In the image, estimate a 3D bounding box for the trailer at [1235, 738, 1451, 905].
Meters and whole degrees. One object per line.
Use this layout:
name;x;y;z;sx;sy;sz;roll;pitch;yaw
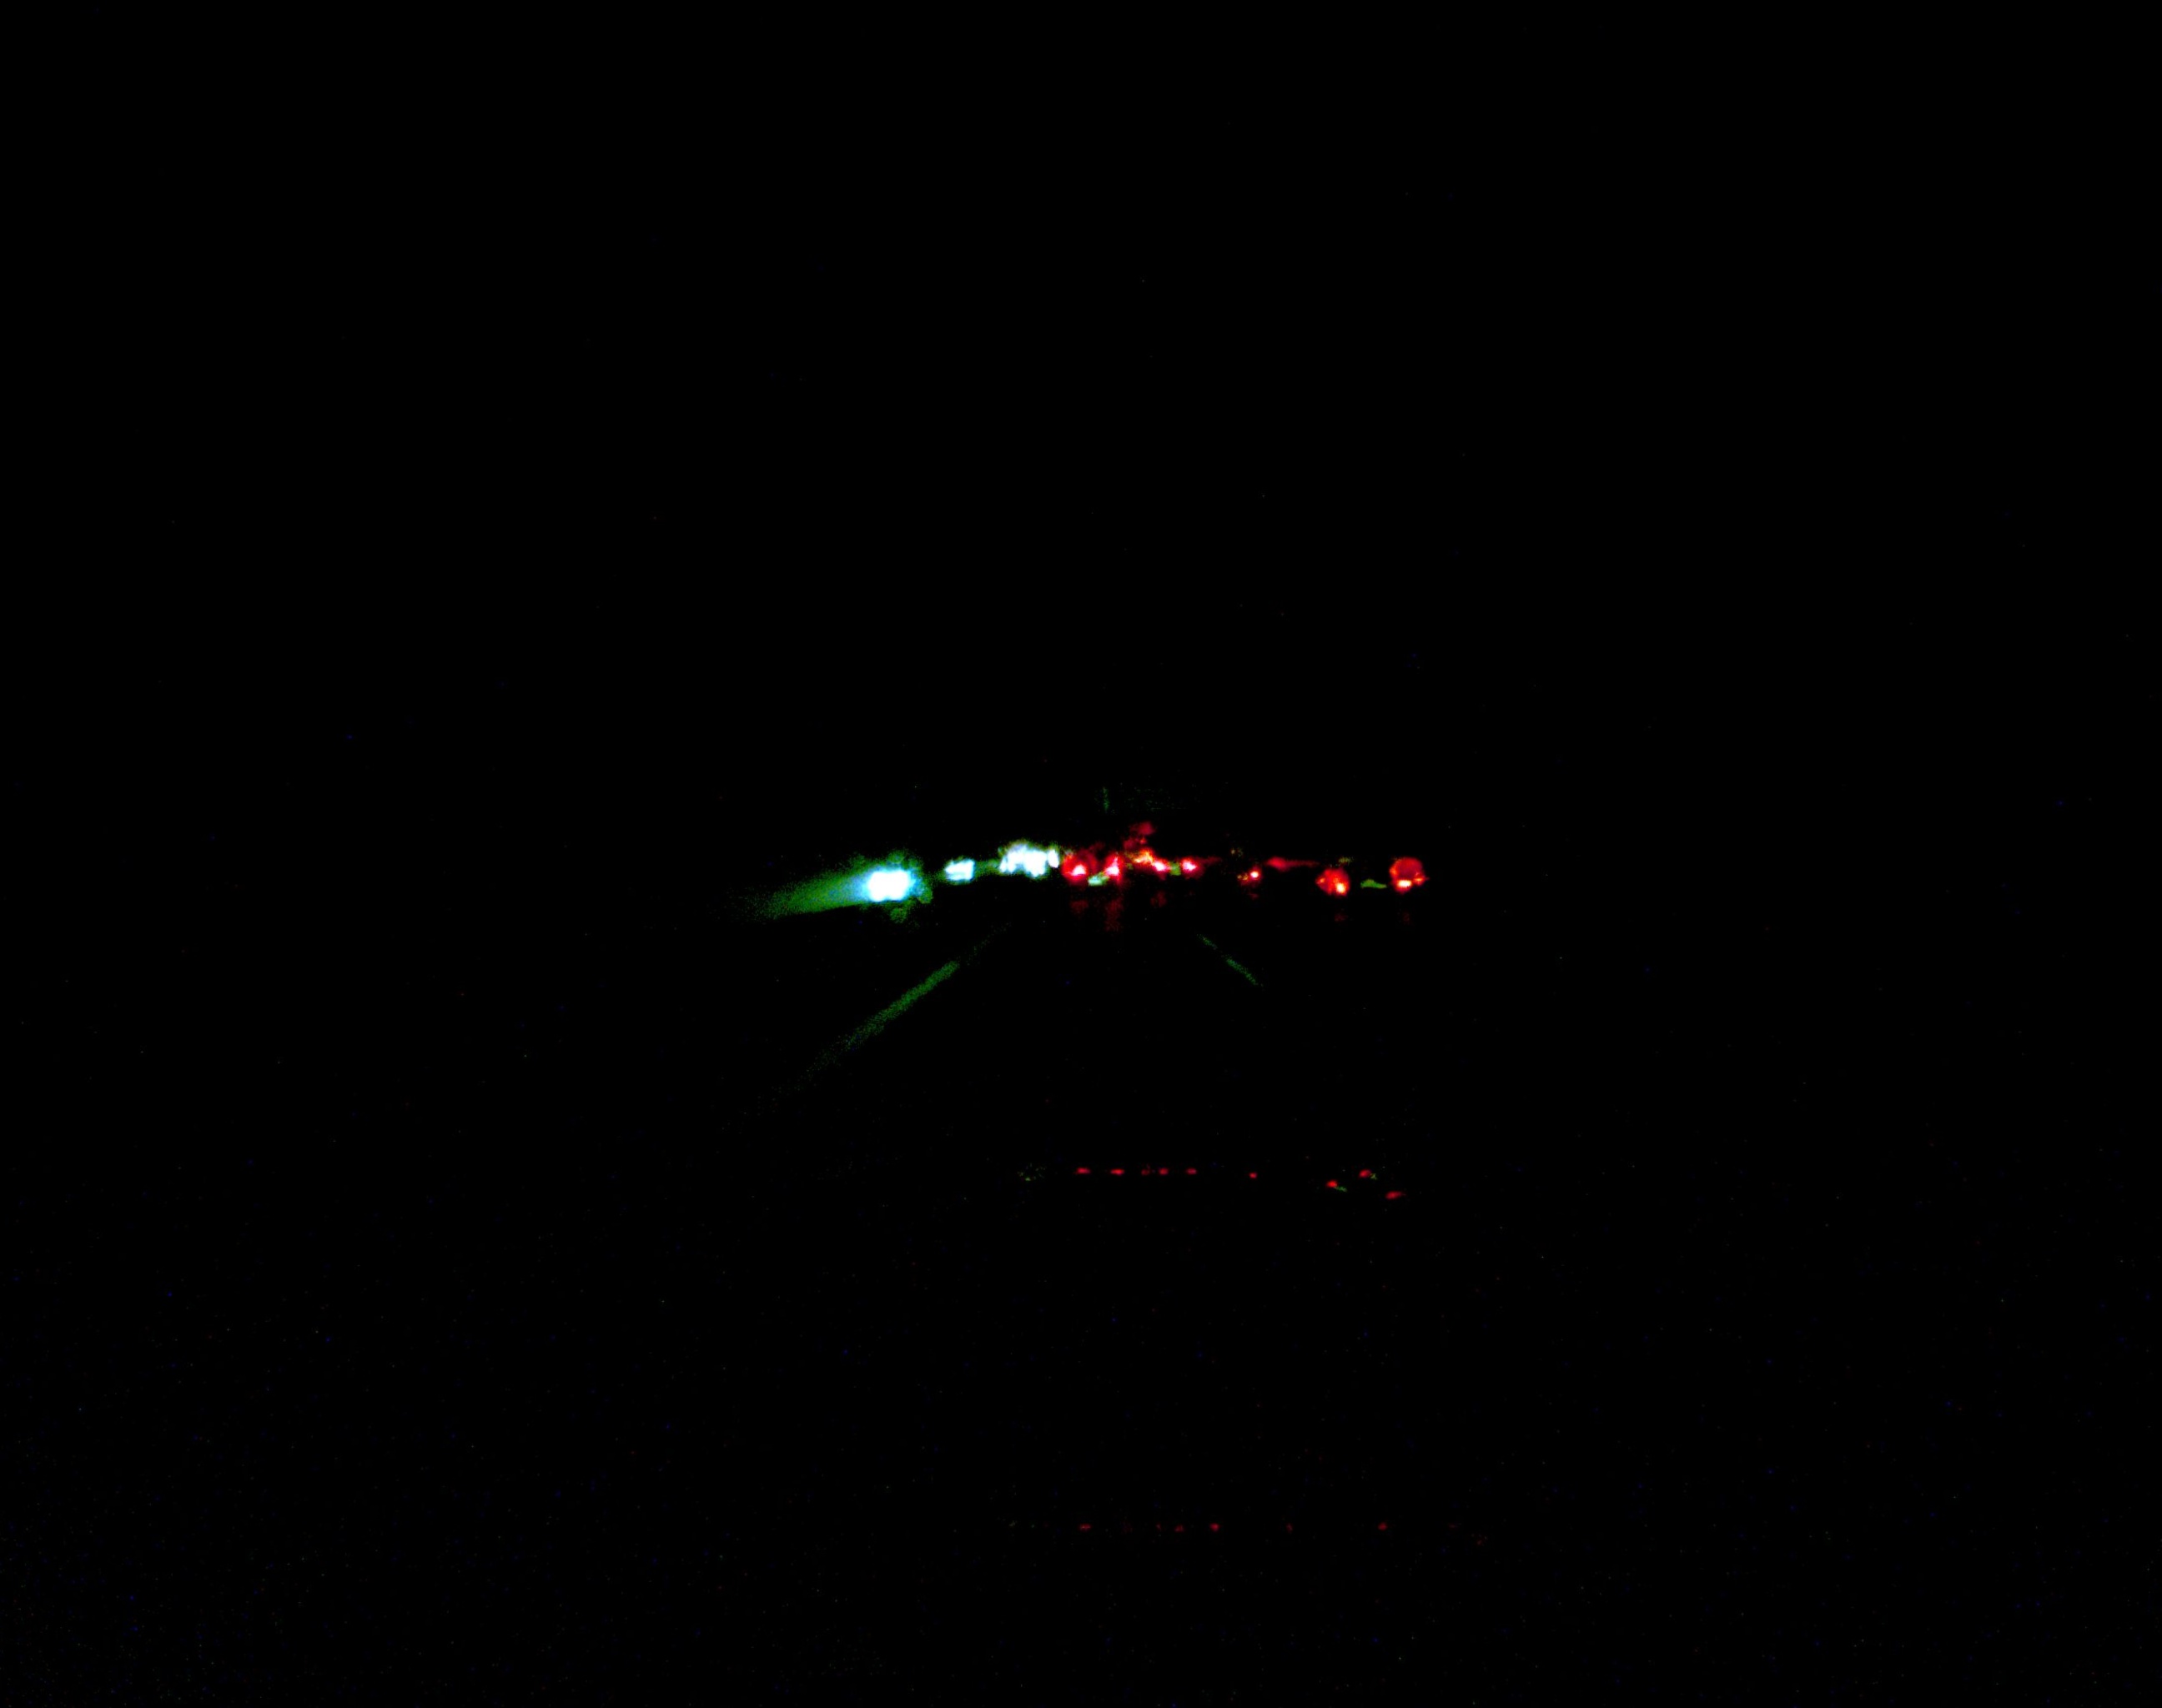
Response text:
trailer;8.005;-0.863;27.750;3.030;4.108;13.833;-3;0;1

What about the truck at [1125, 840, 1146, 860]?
truck;9.738;-0.784;146.416;3.026;3.297;11.384;-3;0;1

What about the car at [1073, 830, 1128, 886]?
car;0.745;0.124;31.371;1.986;2.013;4.001;0;0;1

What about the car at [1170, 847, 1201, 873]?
car;8.716;0.498;68.187;1.987;2.013;3.999;-3;0;-1

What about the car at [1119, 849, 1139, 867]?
car;5.529;0.444;94.274;1.987;2.013;3.999;-3;0;-1

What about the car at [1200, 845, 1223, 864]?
car;15.037;0.078;94.017;1.987;2.013;3.999;-3;0;-1

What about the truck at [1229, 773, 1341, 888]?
truck;8.077;-0.890;33.075;3.030;4.108;5.800;-3;0;1

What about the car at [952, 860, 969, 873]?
car;-18.937;1.952;128.198;1.987;2.013;3.999;-3;0;-1

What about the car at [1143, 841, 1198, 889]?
car;4.125;0.465;38.011;1.987;2.013;3.999;-3;0;-1

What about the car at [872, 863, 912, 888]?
car;-15.352;1.706;66.392;1.987;1.761;4.958;-3;0;-1

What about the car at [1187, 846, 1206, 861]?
car;16.159;-0.065;114.031;1.987;2.013;3.999;-3;0;-1
